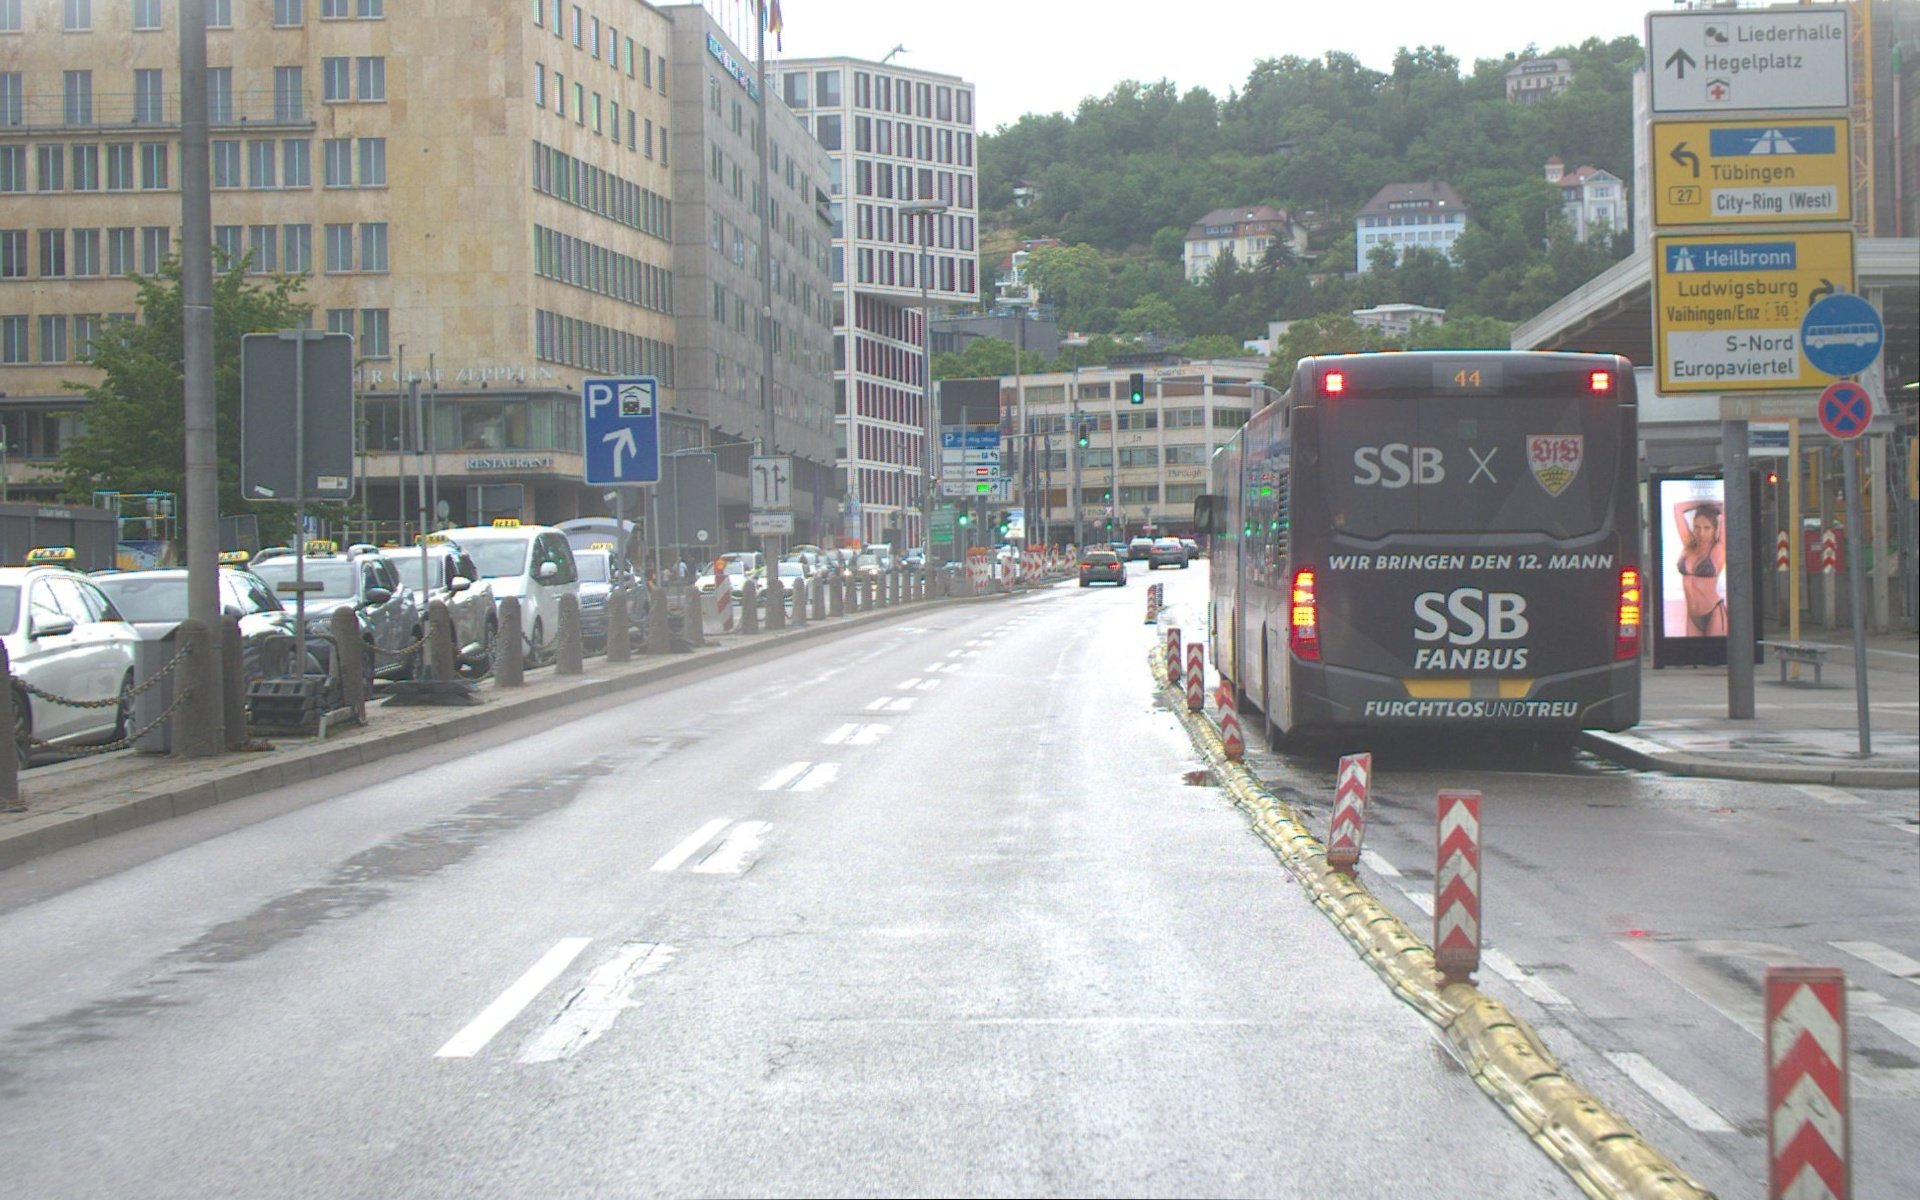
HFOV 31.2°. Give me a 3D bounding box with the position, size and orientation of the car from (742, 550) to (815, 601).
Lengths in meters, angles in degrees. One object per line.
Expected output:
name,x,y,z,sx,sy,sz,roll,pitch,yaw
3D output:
car,-6.126,-0.841,116.502,1.962,1.559,4.835,-3,1,2

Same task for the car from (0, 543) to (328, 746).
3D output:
car,-7.050,0.347,30.214,1.930,1.571,5.052,-2,0,1

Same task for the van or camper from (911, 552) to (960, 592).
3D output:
van or camper,-1.242,-1.439,178.029,1.994,2.007,5.188,-1,0,5

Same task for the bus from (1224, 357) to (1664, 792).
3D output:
bus,3.778,-0.211,28.917,2.755,3.058,9.079,1,0,2

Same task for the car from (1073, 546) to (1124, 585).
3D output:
car,5.751,-1.409,142.129,1.994,1.547,4.000,-1,0,4

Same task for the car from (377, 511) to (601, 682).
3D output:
car,-6.370,-0.083,47.114,1.994,2.171,5.544,-1,1,3

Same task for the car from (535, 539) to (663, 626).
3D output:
car,-6.792,-0.334,65.096,1.993,1.547,4.000,-1,0,0

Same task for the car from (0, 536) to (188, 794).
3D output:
car,-7.121,0.436,24.424,1.976,1.653,5.192,-2,0,1

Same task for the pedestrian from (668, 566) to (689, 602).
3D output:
pedestrian,-12.295,-0.692,150.153,0.721,1.552,0.894,-1,0,7

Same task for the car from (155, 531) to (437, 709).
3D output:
car,-6.967,0.182,36.589,1.930,1.693,4.885,-2,0,1

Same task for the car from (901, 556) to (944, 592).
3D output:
car,-2.081,-1.456,193.667,1.994,2.007,3.999,0,1,6

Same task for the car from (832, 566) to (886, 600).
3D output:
car,-4.923,-0.845,168.097,1.994,1.611,4.977,-1,0,6

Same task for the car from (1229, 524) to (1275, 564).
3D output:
car,13.157,-2.519,155.090,1.994,1.700,3.999,-1,0,4

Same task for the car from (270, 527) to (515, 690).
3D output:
car,-6.797,0.079,41.657,1.930,1.800,4.582,-2,0,3

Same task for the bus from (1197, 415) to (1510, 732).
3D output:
bus,4.139,-0.289,37.967,2.755,3.055,8.992,1,0,2

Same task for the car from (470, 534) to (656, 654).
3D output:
car,-5.996,-0.125,52.500,1.994,1.716,4.781,-1,1,3

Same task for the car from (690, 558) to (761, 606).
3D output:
car,-8.451,-0.657,124.221,1.962,1.559,4.835,-3,1,2
